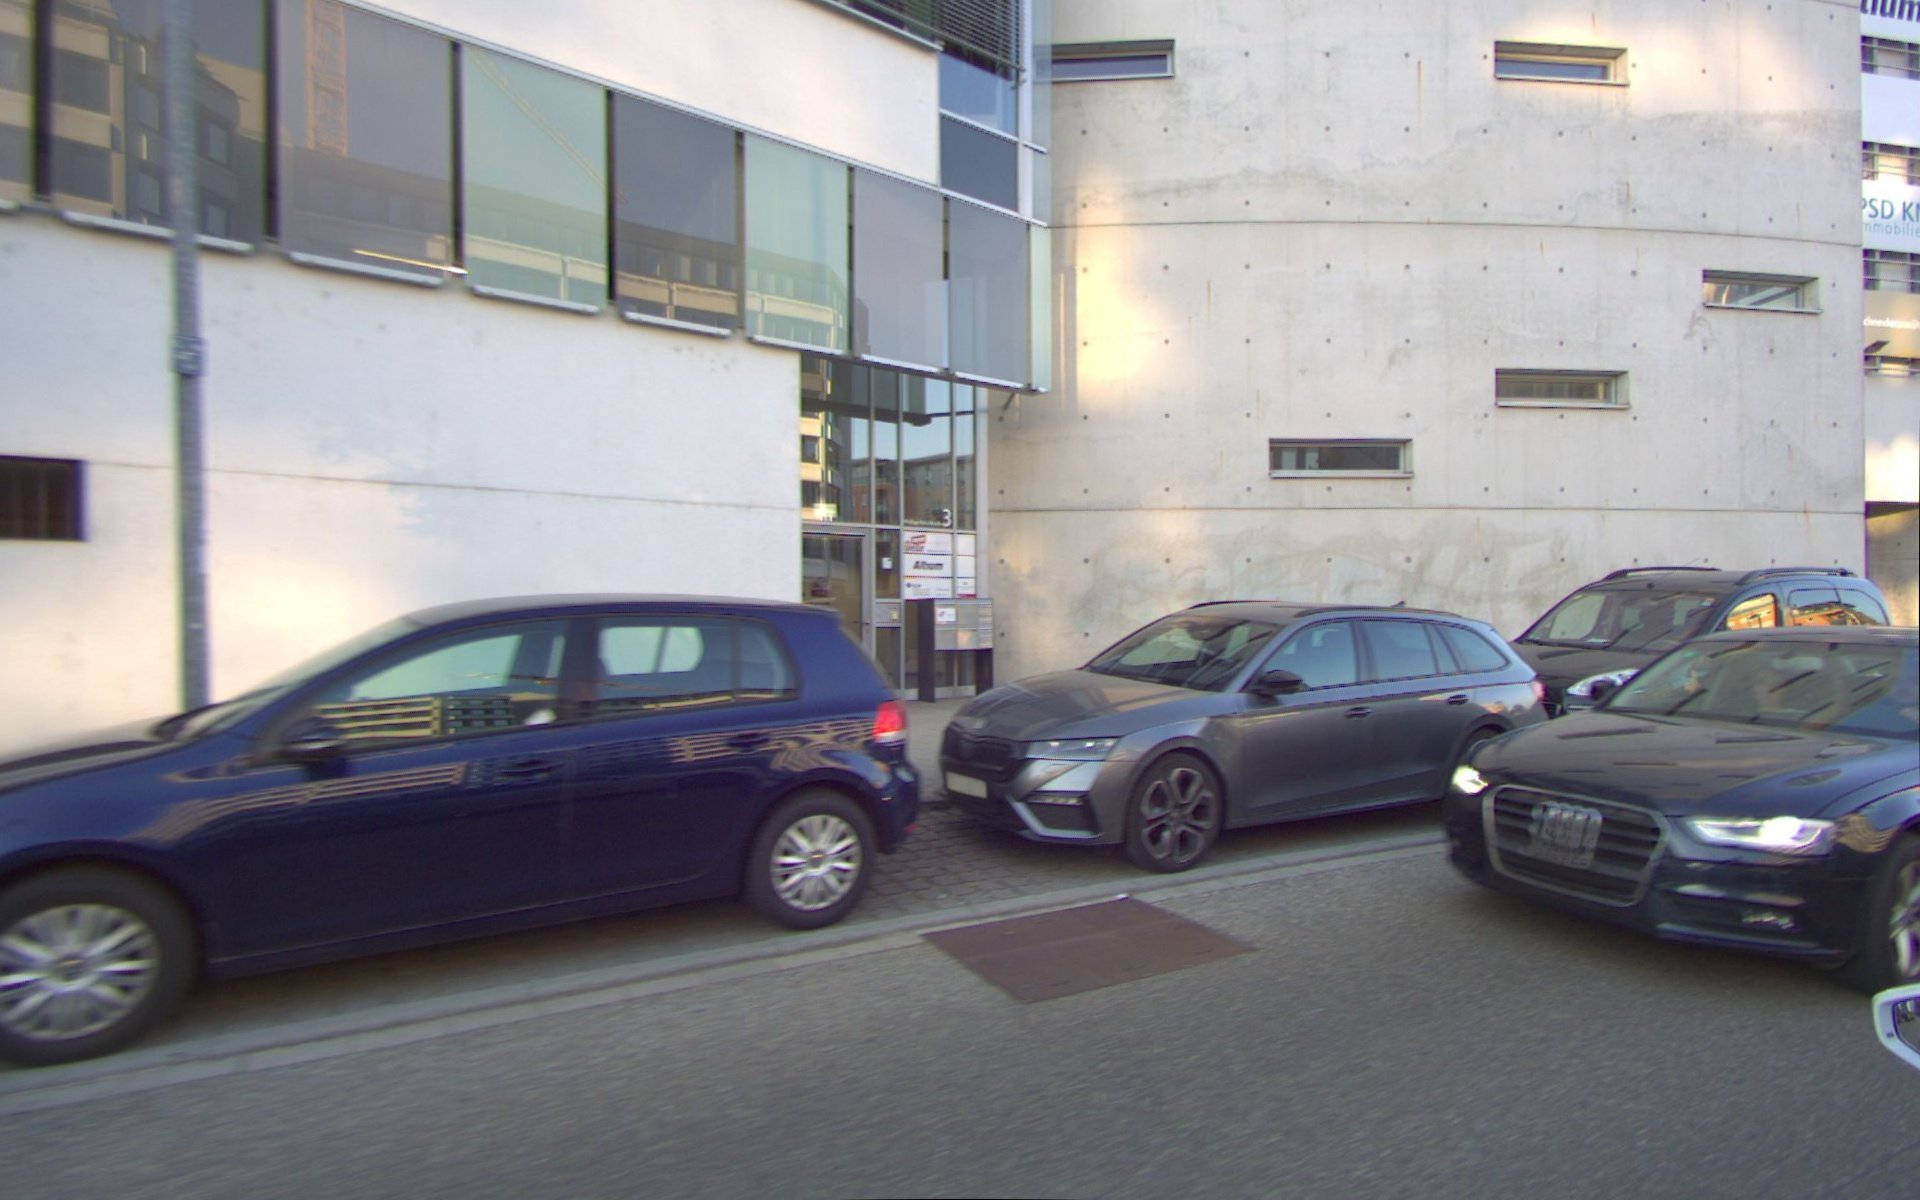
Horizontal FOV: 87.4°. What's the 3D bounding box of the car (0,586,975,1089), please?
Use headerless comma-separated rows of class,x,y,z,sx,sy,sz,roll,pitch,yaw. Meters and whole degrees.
car,-2.164,0.693,4.428,4.222,1.477,1.713,-1,2,-31

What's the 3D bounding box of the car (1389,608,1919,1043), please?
car,4.519,0.780,5.181,4.454,1.441,1.773,0,0,-26

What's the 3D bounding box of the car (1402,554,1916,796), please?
car,6.412,0.535,9.210,4.398,1.823,1.753,0,2,-22

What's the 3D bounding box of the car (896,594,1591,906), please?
car,2.022,0.722,6.768,4.635,1.477,1.715,0,2,-29
